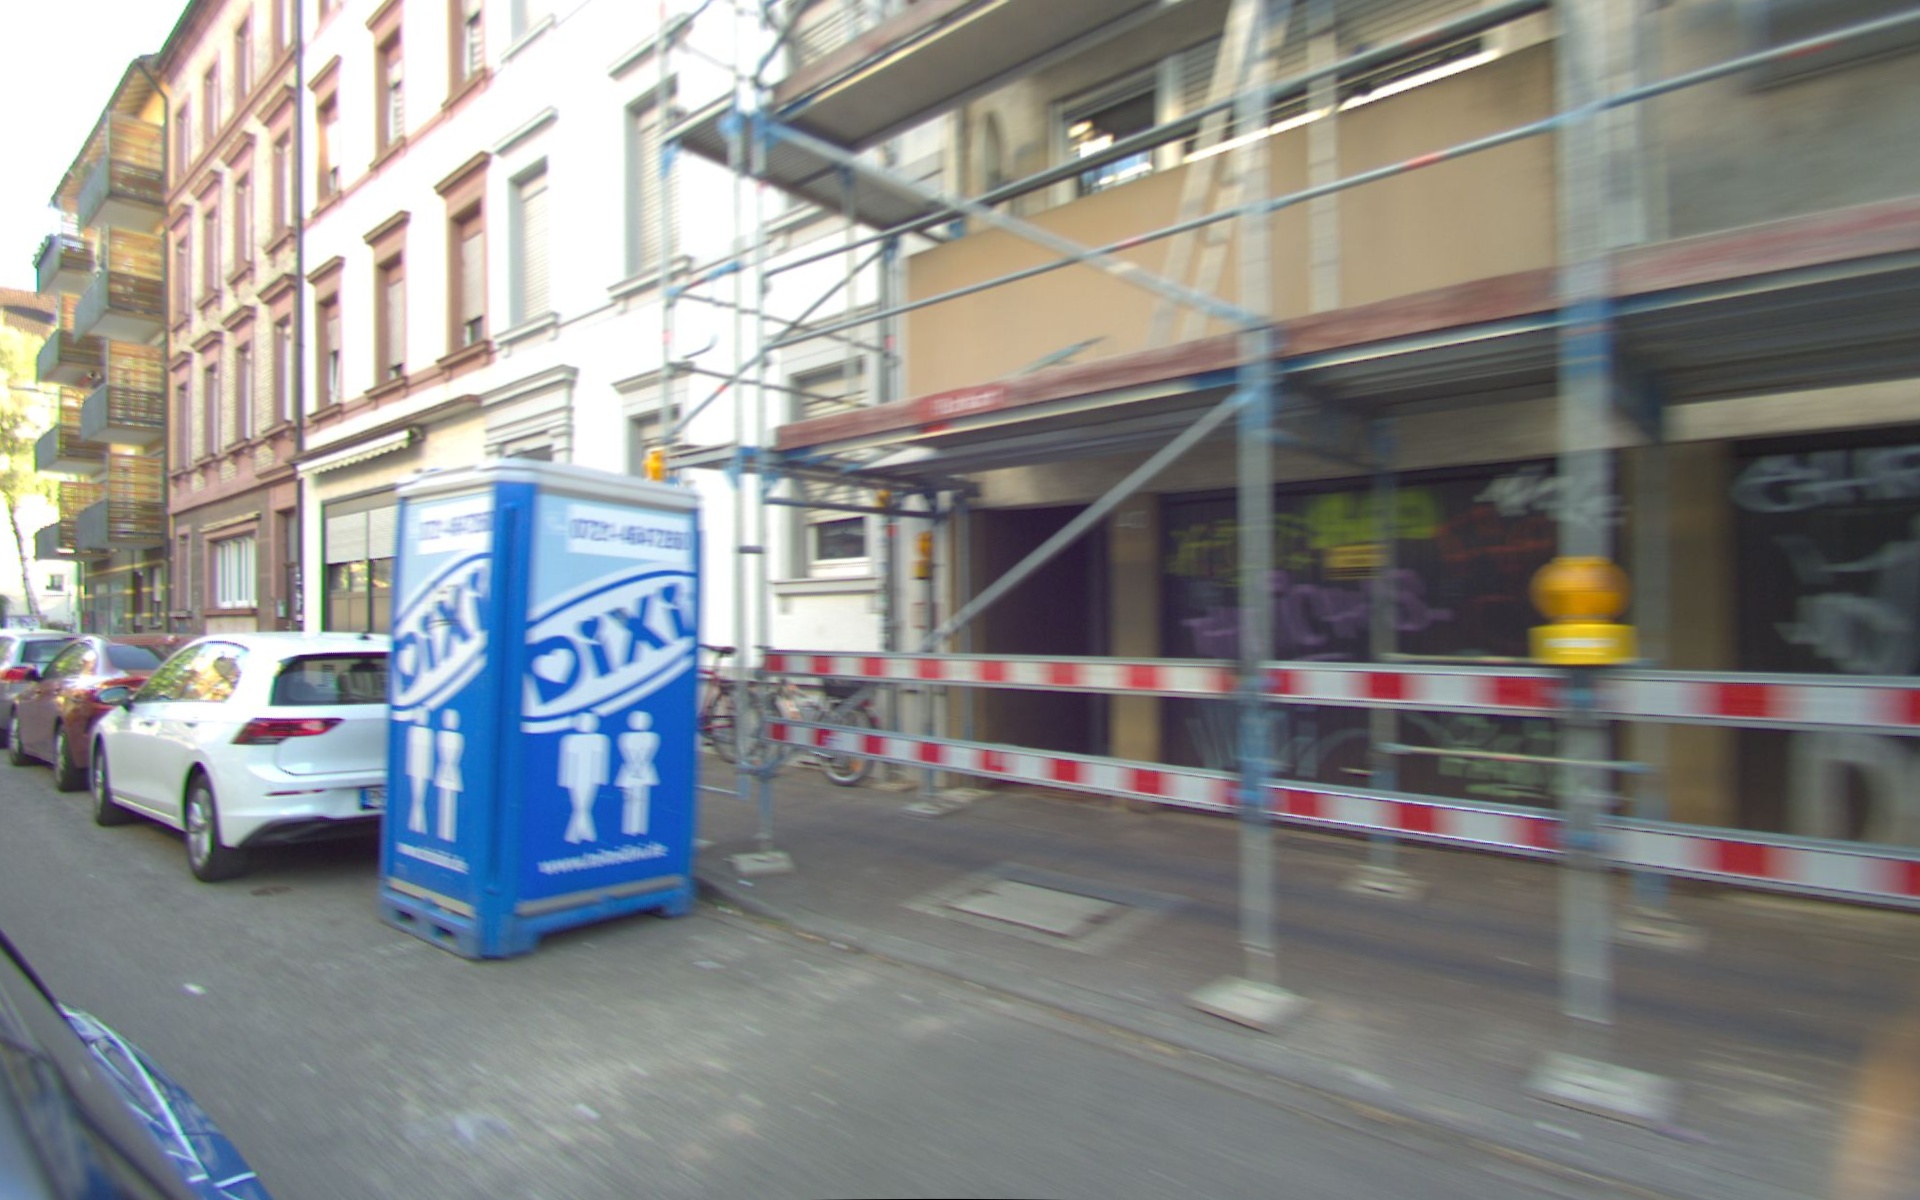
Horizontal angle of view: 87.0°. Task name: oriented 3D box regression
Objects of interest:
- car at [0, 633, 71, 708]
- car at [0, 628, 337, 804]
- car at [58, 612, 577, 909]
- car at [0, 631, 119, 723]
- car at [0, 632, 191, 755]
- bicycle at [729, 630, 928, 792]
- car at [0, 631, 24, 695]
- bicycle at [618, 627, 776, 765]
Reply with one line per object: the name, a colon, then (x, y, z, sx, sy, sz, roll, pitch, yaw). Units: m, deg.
car: (-19.873, 1.385, 20.635, 3.996, 1.443, 1.973, -1, -3, 40)
car: (-8.308, 1.031, 10.471, 3.996, 1.459, 1.973, -1, -3, 40)
car: (-4.719, 0.890, 7.245, 3.996, 1.516, 1.973, -1, -3, 40)
car: (-16.360, 1.265, 17.564, 3.996, 1.443, 1.973, -1, -3, 40)
car: (-12.359, 1.175, 13.904, 3.996, 1.443, 1.973, -1, -3, 40)
bicycle: (-1.112, 0.845, 8.257, 1.814, 1.177, 0.437, -1, 1, 39)
car: (-24.357, 1.486, 24.477, 3.996, 1.482, 1.973, -1, -3, 40)
bicycle: (-2.521, 0.860, 9.581, 1.814, 1.177, 0.400, -1, 1, 39)
